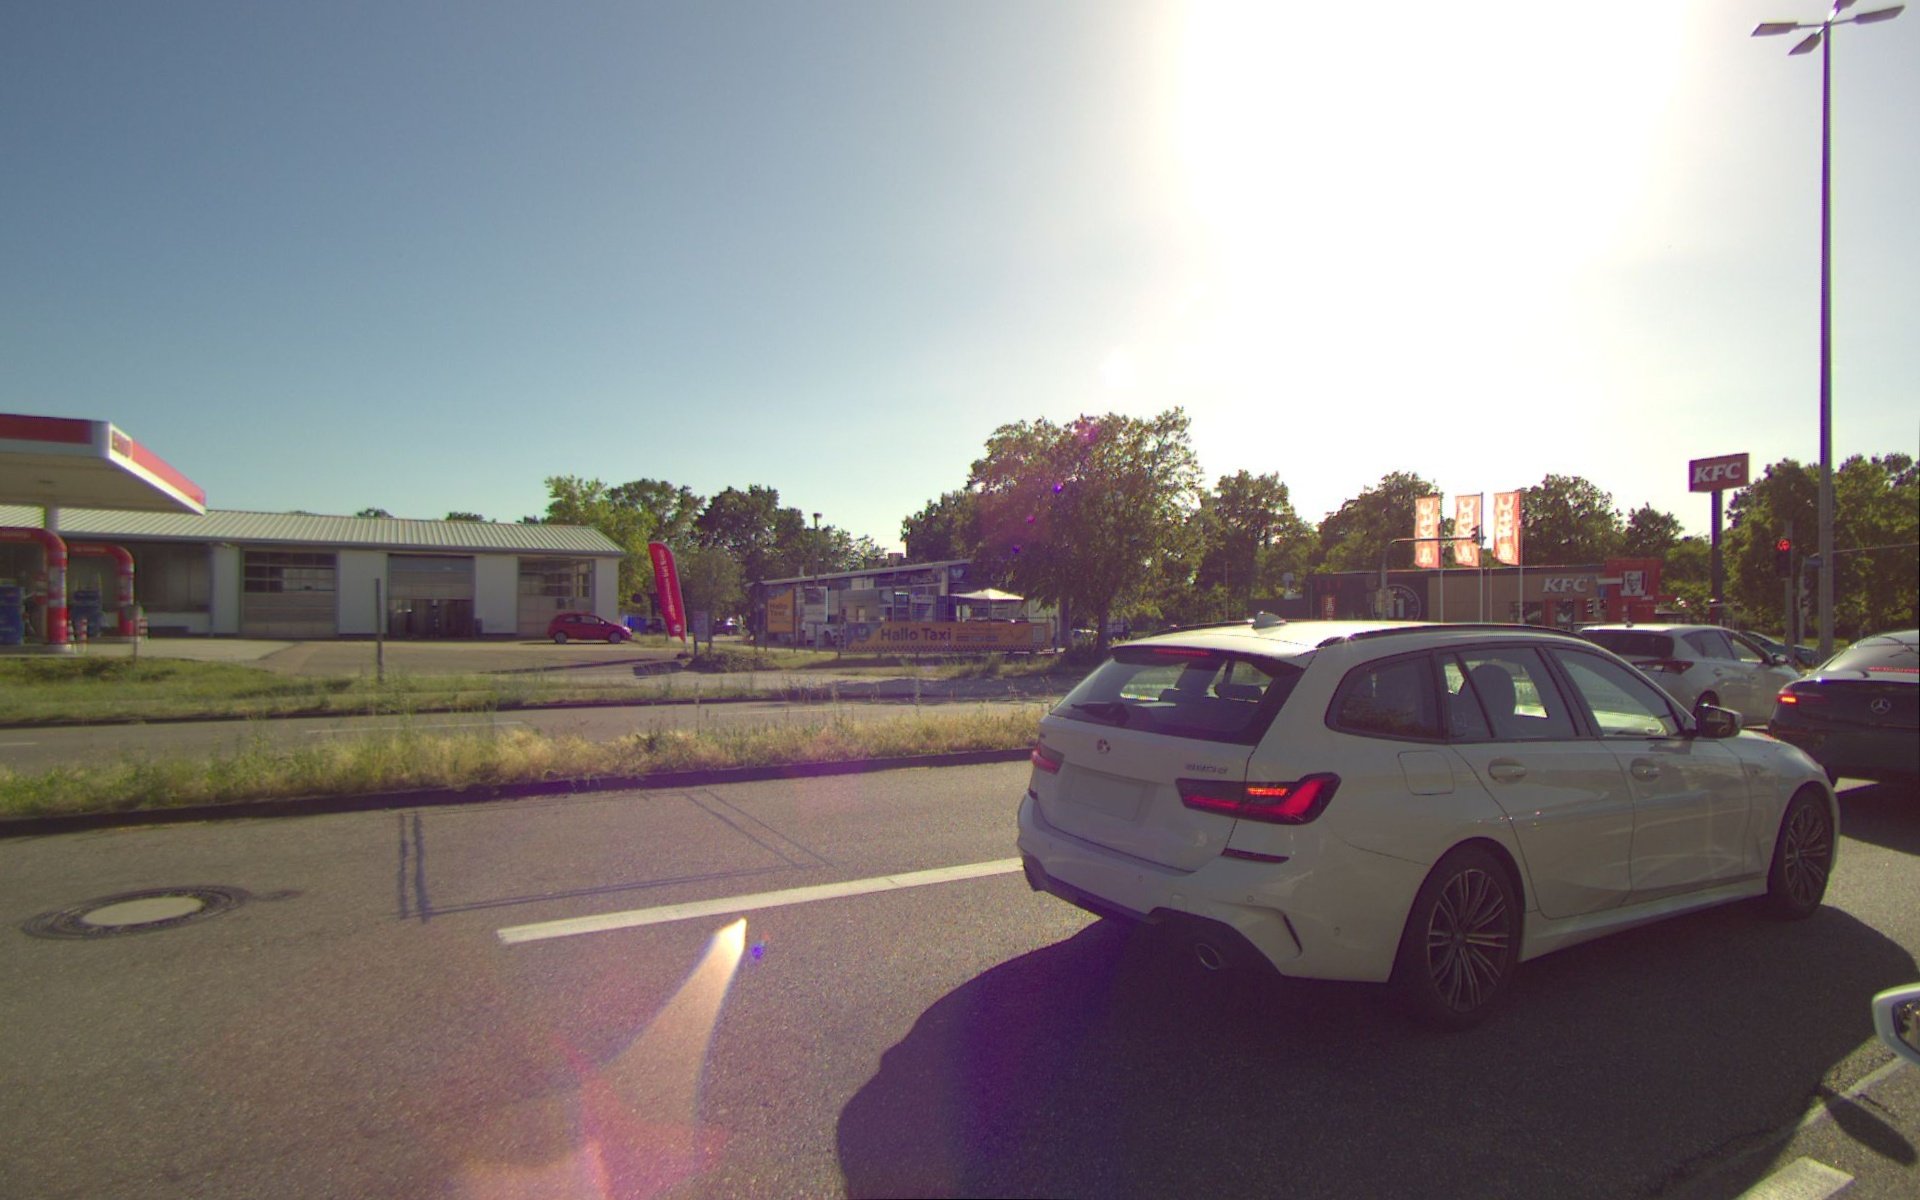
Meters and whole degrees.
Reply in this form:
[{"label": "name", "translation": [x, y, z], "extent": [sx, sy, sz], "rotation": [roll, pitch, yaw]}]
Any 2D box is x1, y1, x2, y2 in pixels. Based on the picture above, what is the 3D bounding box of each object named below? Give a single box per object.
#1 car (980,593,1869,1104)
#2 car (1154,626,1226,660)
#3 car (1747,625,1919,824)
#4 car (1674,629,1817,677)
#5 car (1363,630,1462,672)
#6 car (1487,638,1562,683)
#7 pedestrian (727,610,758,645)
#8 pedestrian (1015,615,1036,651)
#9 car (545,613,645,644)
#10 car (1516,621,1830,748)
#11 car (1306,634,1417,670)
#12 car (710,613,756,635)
[{"label": "car", "translation": [2.428, 0.789, 4.904], "extent": [4.409, 1.529, 1.760], "rotation": [1, -1, -30]}, {"label": "car", "translation": [12.728, 2.375, 55.805], "extent": [1.738, 1.751, 3.969], "rotation": [1, -1, -29]}, {"label": "car", "translation": [8.807, 0.956, 8.625], "extent": [4.409, 1.433, 1.760], "rotation": [1, -1, -30]}, {"label": "car", "translation": [29.094, 1.908, 37.266], "extent": [1.812, 1.616, 3.997], "rotation": [1, -1, -44]}, {"label": "car", "translation": [21.234, 2.338, 47.259], "extent": [1.802, 1.805, 4.021], "rotation": [1, -1, -28]}, {"label": "car", "translation": [19.199, 2.040, 34.307], "extent": [1.790, 1.448, 4.049], "rotation": [-1, -3, 23]}, {"label": "pedestrian", "translation": [-11.259, 1.424, 51.966], "extent": [1.140, 1.787, 1.096], "rotation": [0, -1, 36]}, {"label": "pedestrian", "translation": [3.355, 1.695, 51.627], "extent": [0.804, 1.828, 0.951], "rotation": [1, -1, -13]}, {"label": "car", "translation": [-18.011, 1.408, 49.553], "extent": [4.486, 1.458, 1.741], "rotation": [1, -1, -26]}, {"label": "car", "translation": [9.644, 1.029, 13.520], "extent": [4.352, 1.448, 1.848], "rotation": [1, -1, -30]}, {"label": "car", "translation": [18.167, 2.313, 45.668], "extent": [1.839, 1.448, 4.704], "rotation": [1, -1, -27]}, {"label": "car", "translation": [-19.918, 2.119, 88.259], "extent": [2.085, 1.840, 4.000], "rotation": [0, -1, 20]}]
